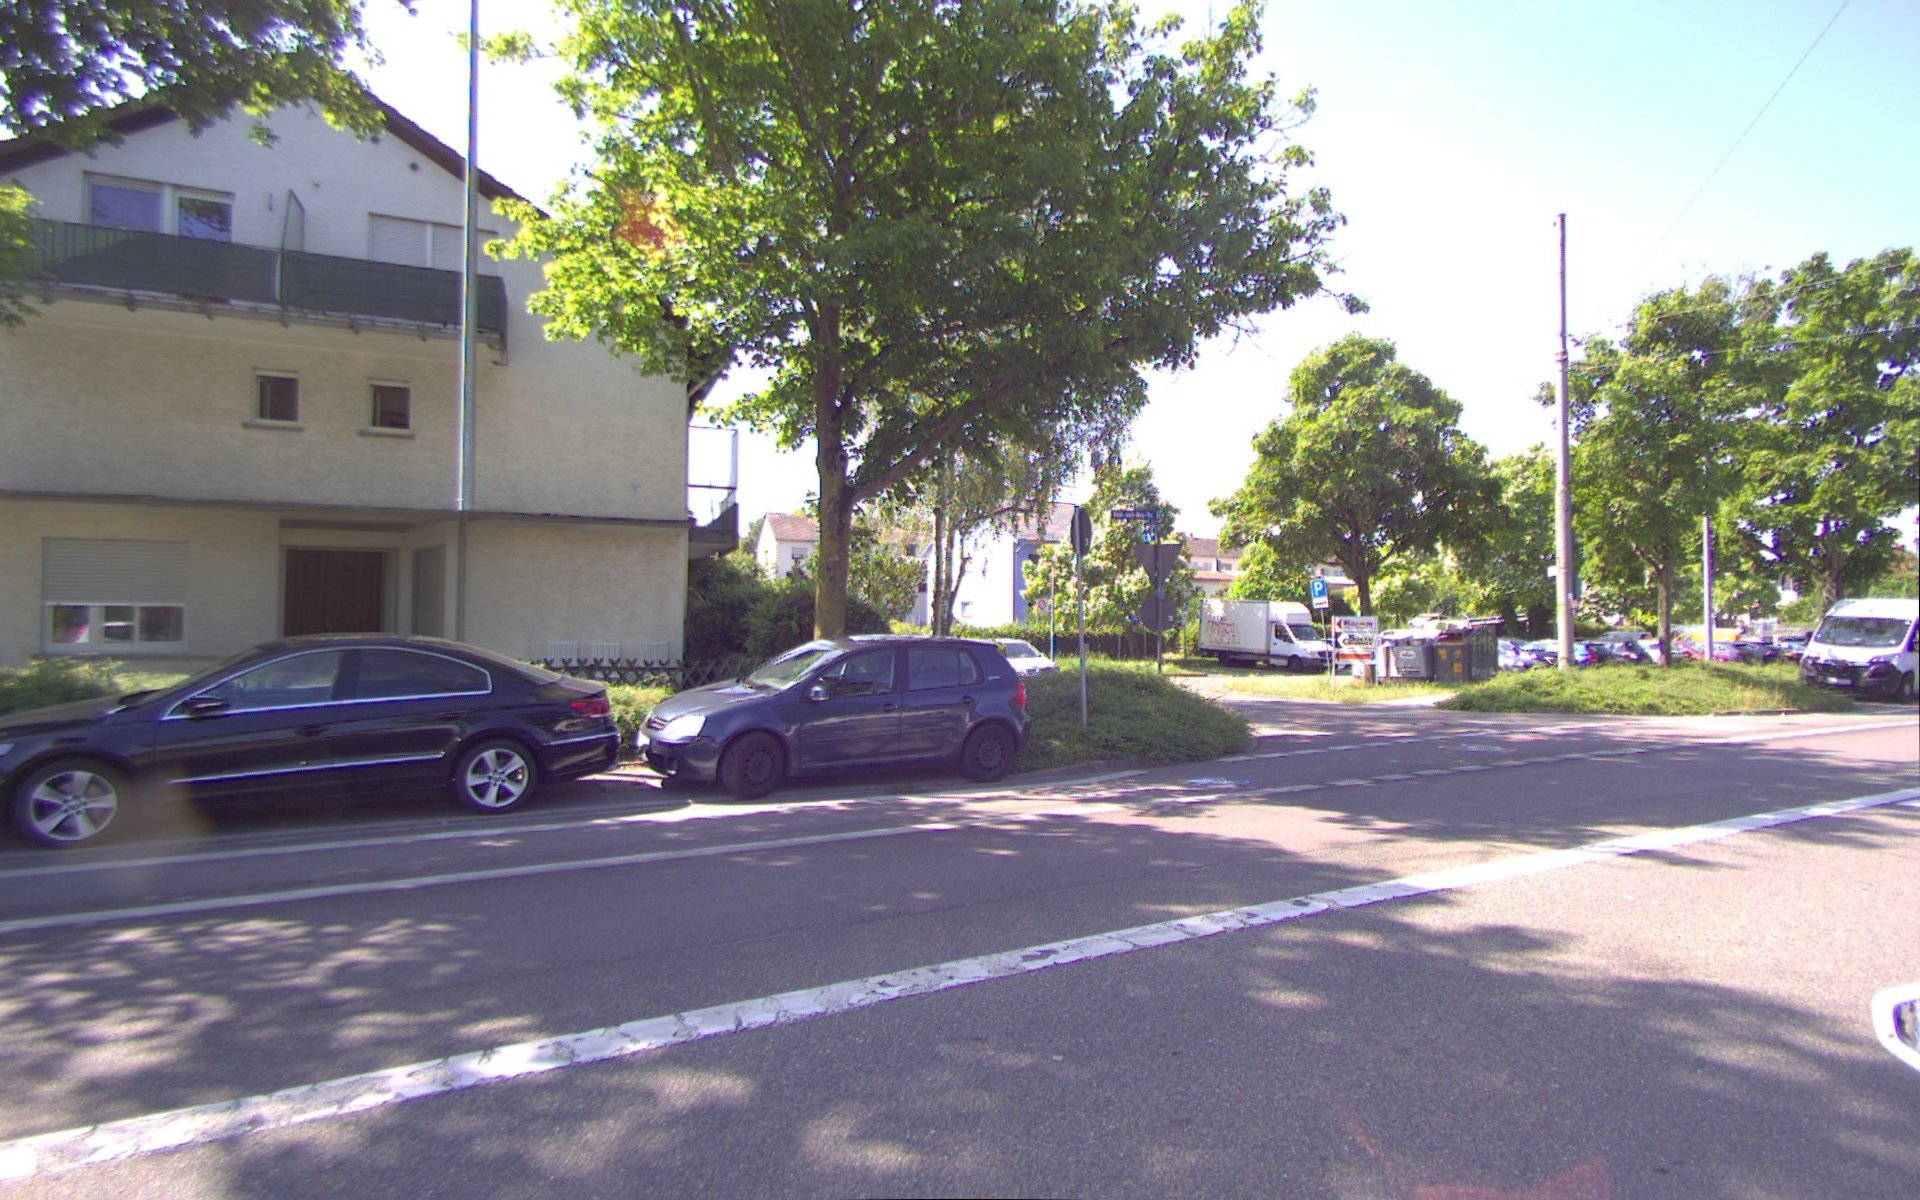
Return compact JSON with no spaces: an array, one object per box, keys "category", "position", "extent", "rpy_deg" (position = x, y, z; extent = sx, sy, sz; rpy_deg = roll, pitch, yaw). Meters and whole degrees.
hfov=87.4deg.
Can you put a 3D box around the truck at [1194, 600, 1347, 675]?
[{"category":"truck","position":[14.264,1.617,46.777],"extent":[2.206,3.059,7.103],"rpy_deg":[1,1,-31]}]

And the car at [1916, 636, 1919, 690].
[{"category":"car","position":[29.345,1.795,28.729],"extent":[4.148,1.536,1.835],"rpy_deg":[1,-2,-30]}]

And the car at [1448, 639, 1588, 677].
[{"category":"car","position":[19.511,2.001,35.289],"extent":[1.751,1.241,3.967],"rpy_deg":[1,-2,-31]}]

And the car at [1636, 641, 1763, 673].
[{"category":"car","position":[31.101,2.362,42.367],"extent":[1.748,1.241,3.973],"rpy_deg":[1,-2,-27]}]

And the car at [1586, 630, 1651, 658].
[{"category":"car","position":[44.888,2.988,68.540],"extent":[1.535,1.901,3.406],"rpy_deg":[1,-2,-31]}]

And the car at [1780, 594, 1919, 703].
[{"category":"car","position":[23.886,1.178,25.811],"extent":[6.227,2.534,2.050],"rpy_deg":[1,1,-28]}]

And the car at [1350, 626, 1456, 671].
[{"category":"car","position":[22.877,2.462,52.015],"extent":[1.980,2.040,4.663],"rpy_deg":[2,0,-34]}]

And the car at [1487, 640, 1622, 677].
[{"category":"car","position":[21.768,2.105,36.958],"extent":[1.748,1.241,3.973],"rpy_deg":[1,-2,-27]}]

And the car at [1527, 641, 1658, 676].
[{"category":"car","position":[24.372,2.217,38.833],"extent":[1.748,1.241,3.973],"rpy_deg":[1,-2,-27]}]

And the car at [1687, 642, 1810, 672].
[{"category":"car","position":[35.211,2.522,44.974],"extent":[1.748,1.241,3.973],"rpy_deg":[1,-2,-27]}]

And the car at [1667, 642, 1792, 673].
[{"category":"car","position":[33.333,2.453,43.629],"extent":[1.748,1.241,3.973],"rpy_deg":[1,-2,-27]}]

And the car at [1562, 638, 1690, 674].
[{"category":"car","position":[26.608,2.196,40.265],"extent":[1.748,1.368,3.973],"rpy_deg":[1,-2,-27]}]

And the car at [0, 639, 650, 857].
[{"category":"car","position":[-5.175,1.043,8.321],"extent":[4.727,1.398,1.682],"rpy_deg":[1,-1,-31]}]

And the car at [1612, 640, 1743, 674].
[{"category":"car","position":[29.049,2.260,40.781],"extent":[1.748,1.281,3.973],"rpy_deg":[1,-2,-27]}]

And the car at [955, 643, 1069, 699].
[{"category":"car","position":[1.386,1.951,28.429],"extent":[1.687,1.437,3.979],"rpy_deg":[1,-2,-23]}]

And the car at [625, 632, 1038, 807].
[{"category":"car","position":[-1.291,1.119,10.497],"extent":[3.956,1.470,1.634],"rpy_deg":[2,0,-29]}]

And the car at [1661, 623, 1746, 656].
[{"category":"car","position":[50.676,2.648,68.486],"extent":[1.981,2.040,4.228],"rpy_deg":[2,0,-35]}]

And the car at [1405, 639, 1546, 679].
[{"category":"car","position":[17.393,1.949,34.056],"extent":[1.751,1.241,3.967],"rpy_deg":[1,-2,-31]}]
